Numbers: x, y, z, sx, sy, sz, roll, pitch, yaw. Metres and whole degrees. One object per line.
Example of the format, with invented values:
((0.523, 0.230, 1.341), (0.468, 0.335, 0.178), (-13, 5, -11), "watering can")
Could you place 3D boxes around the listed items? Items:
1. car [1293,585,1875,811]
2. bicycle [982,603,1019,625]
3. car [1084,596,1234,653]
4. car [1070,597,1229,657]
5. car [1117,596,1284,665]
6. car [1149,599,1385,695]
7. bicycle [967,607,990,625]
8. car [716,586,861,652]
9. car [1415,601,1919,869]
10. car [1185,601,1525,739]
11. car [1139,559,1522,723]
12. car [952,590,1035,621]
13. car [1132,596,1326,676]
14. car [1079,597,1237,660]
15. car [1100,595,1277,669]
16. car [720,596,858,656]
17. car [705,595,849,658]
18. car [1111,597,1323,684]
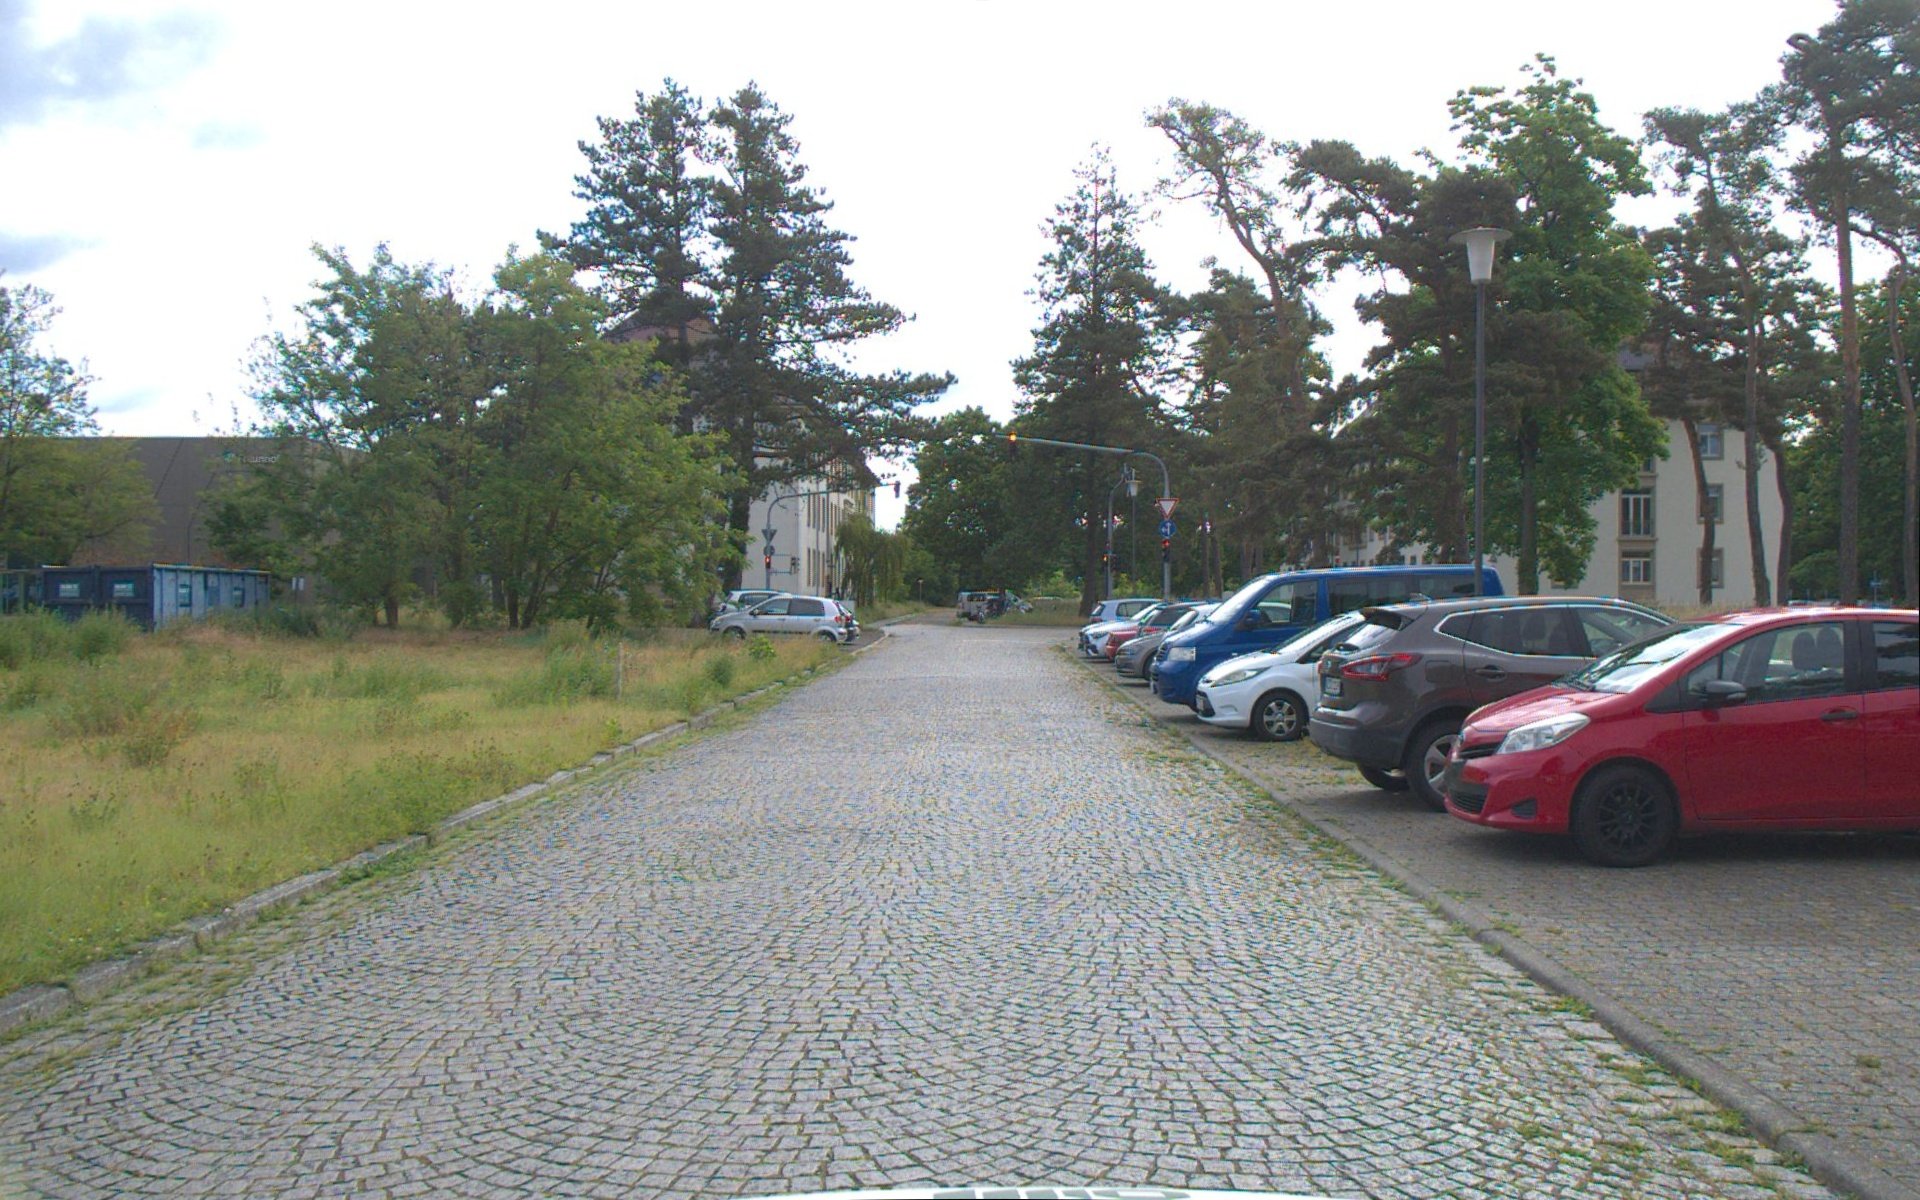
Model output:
((4.826, 0.725, 13.163), (3.947, 1.580, 1.750), (-1, 0, -2), "car")
((2.330, 0.805, 94.881), (2.094, 1.236, 0.621), (1, 0, -4), "bicycle")
((5.499, 0.667, 45.927), (3.889, 1.446, 1.618), (-1, 0, -4), "car")
((4.916, 0.687, 43.280), (3.889, 1.446, 1.618), (-1, 0, -4), "car")
((5.512, 0.686, 38.167), (3.597, 1.475, 1.523), (-1, 0, -1), "car")
((5.035, 0.758, 27.411), (3.597, 1.475, 1.523), (-1, 0, -1), "car")
((1.013, 0.888, 90.821), (0.612, 0.961, 1.648), (1, 0, -27), "bicycle")
((-5.180, 0.580, 50.337), (4.175, 1.873, 1.743), (-1, 0, 0), "car")
((4.999, 0.787, 10.528), (3.714, 1.486, 1.751), (-1, 0, 0), "car")
((4.588, 0.789, 19.542), (3.598, 1.475, 1.614), (-1, 0, -2), "car")
((4.852, 0.530, 22.134), (4.658, 1.989, 1.931), (-1, 0, -2), "car")
((2.271, 0.374, 112.795), (5.344, 2.049, 2.264), (1, 0, -9), "car")
((5.359, 0.706, 33.177), (3.597, 1.475, 1.523), (-1, 0, -1), "car")
((4.806, 0.683, 40.425), (3.599, 1.446, 1.522), (-1, 0, -4), "car")
((4.914, 0.682, 35.886), (3.597, 1.475, 1.523), (-1, 0, -1), "car")
((-4.865, 0.746, 47.346), (3.743, 1.600, 1.564), (-1, 0, 0), "car")
((-4.929, 0.708, 44.929), (3.745, 1.600, 1.563), (-1, 0, -3), "car")
((4.645, 0.723, 30.193), (3.597, 1.475, 1.523), (-1, 0, -1), "car")
